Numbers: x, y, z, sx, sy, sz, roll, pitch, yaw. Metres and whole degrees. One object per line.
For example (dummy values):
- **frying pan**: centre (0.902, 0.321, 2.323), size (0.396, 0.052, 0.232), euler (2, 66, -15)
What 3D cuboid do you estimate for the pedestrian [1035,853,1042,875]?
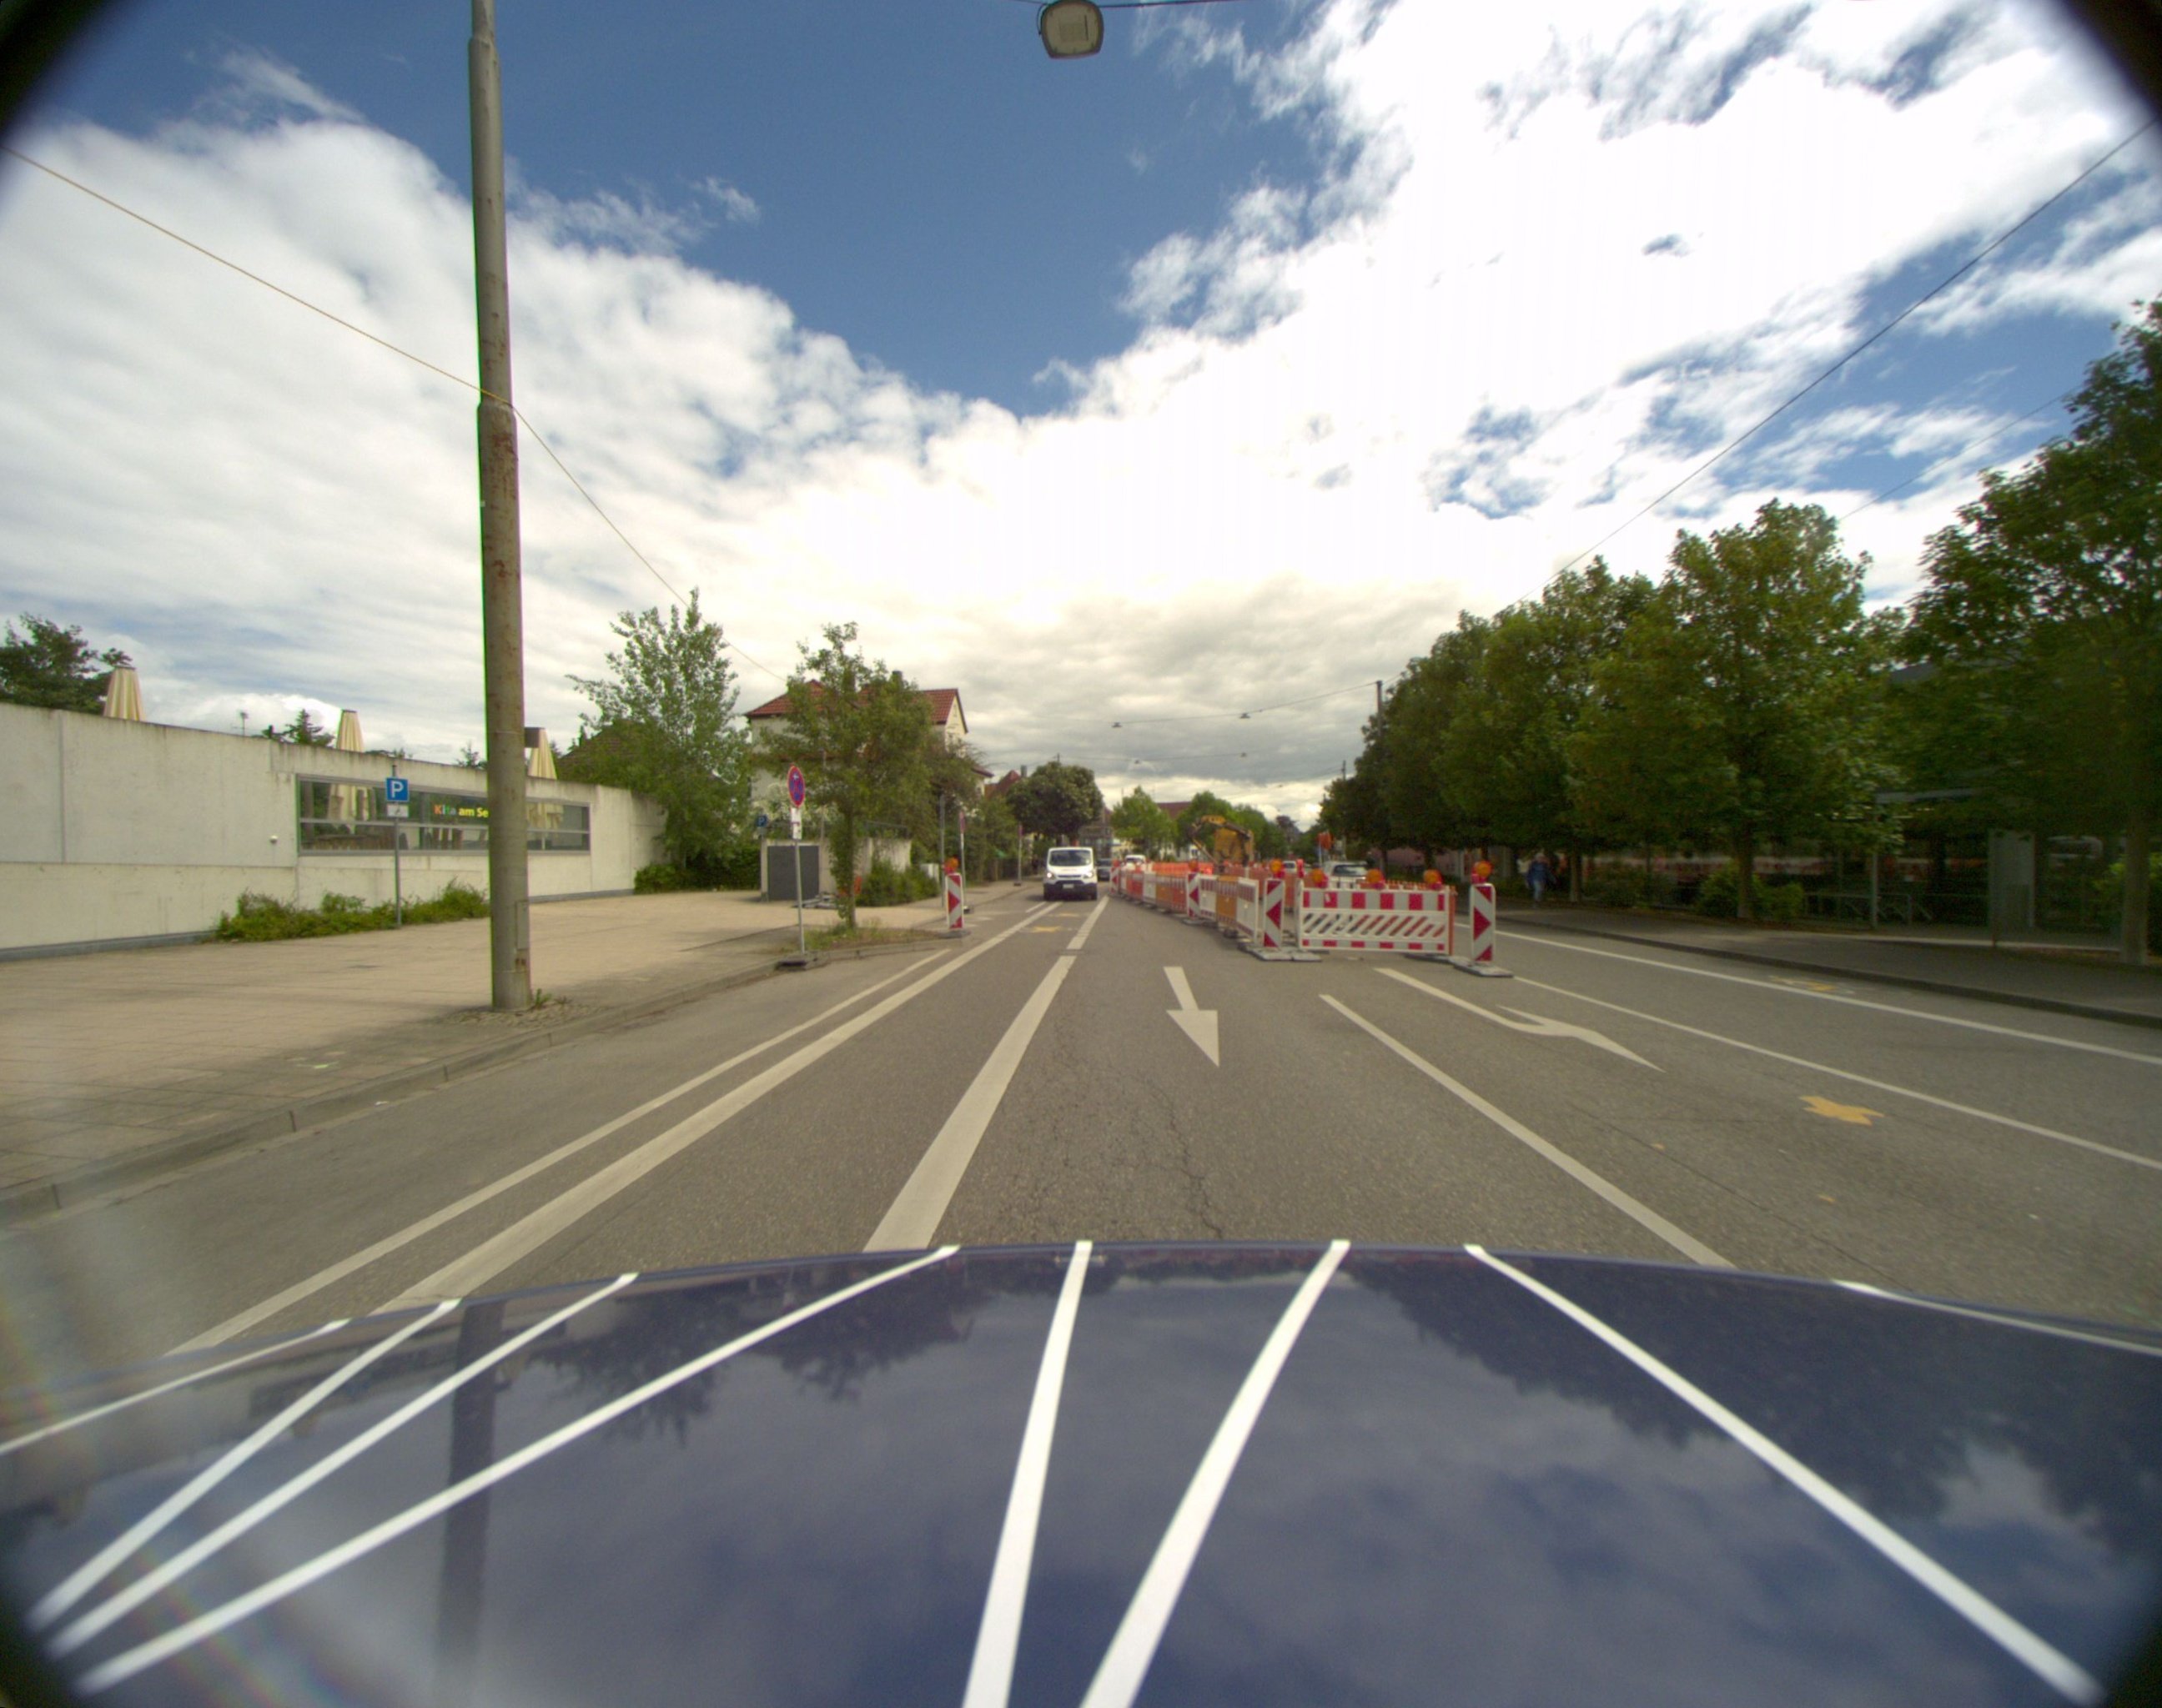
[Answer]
- **pedestrian**: centre (-3.030, 0.716, 54.150), size (0.522, 1.531, 0.636), euler (1, 0, -6)

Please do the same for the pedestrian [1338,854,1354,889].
- **pedestrian**: centre (14.437, 0.944, 41.343), size (0.695, 1.836, 0.624), euler (0, 1, 29)

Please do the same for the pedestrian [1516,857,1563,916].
- **pedestrian**: centre (12.553, 0.875, 20.827), size (0.754, 1.593, 0.829), euler (0, 1, -2)

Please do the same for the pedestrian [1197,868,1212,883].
- **pedestrian**: centre (8.520, 1.475, 52.510), size (0.791, 0.985, 0.813), euler (1, 0, 29)

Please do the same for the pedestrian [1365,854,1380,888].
- **pedestrian**: centre (15.649, 0.907, 40.794), size (0.625, 1.836, 0.624), euler (0, 1, 29)

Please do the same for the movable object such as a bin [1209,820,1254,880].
- **movable object such as a bin**: centre (11.676, -0.279, 58.099), size (2.594, 4.196, 11.134), euler (1, 0, 15)

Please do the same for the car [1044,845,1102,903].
- **car**: centre (-0.429, 0.710, 29.610), size (1.999, 2.002, 5.511), euler (-1, 0, -3)

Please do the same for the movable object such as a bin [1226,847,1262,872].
- **movable object such as a bin**: centre (17.882, 0.568, 83.040), size (1.994, 2.610, 6.535), euler (1, 0, 29)

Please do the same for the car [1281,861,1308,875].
- **car**: centre (22.383, 1.450, 79.523), size (1.855, 1.444, 4.007), euler (-1, 0, 29)

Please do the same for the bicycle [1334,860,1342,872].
- **bicycle**: centre (24.688, 1.169, 72.974), size (0.538, 1.076, 2.135), euler (1, 0, 22)

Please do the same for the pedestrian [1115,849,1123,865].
- **pedestrian**: centre (3.927, 0.321, 78.181), size (0.598, 1.573, 0.402), euler (-6, 0, 19)

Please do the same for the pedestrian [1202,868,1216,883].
- **pedestrian**: centre (8.648, 1.476, 51.440), size (0.641, 0.985, 0.795), euler (1, 0, 39)

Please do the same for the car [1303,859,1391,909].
- **car**: centre (8.924, 0.953, 25.839), size (1.858, 1.504, 4.001), euler (0, 0, 5)
